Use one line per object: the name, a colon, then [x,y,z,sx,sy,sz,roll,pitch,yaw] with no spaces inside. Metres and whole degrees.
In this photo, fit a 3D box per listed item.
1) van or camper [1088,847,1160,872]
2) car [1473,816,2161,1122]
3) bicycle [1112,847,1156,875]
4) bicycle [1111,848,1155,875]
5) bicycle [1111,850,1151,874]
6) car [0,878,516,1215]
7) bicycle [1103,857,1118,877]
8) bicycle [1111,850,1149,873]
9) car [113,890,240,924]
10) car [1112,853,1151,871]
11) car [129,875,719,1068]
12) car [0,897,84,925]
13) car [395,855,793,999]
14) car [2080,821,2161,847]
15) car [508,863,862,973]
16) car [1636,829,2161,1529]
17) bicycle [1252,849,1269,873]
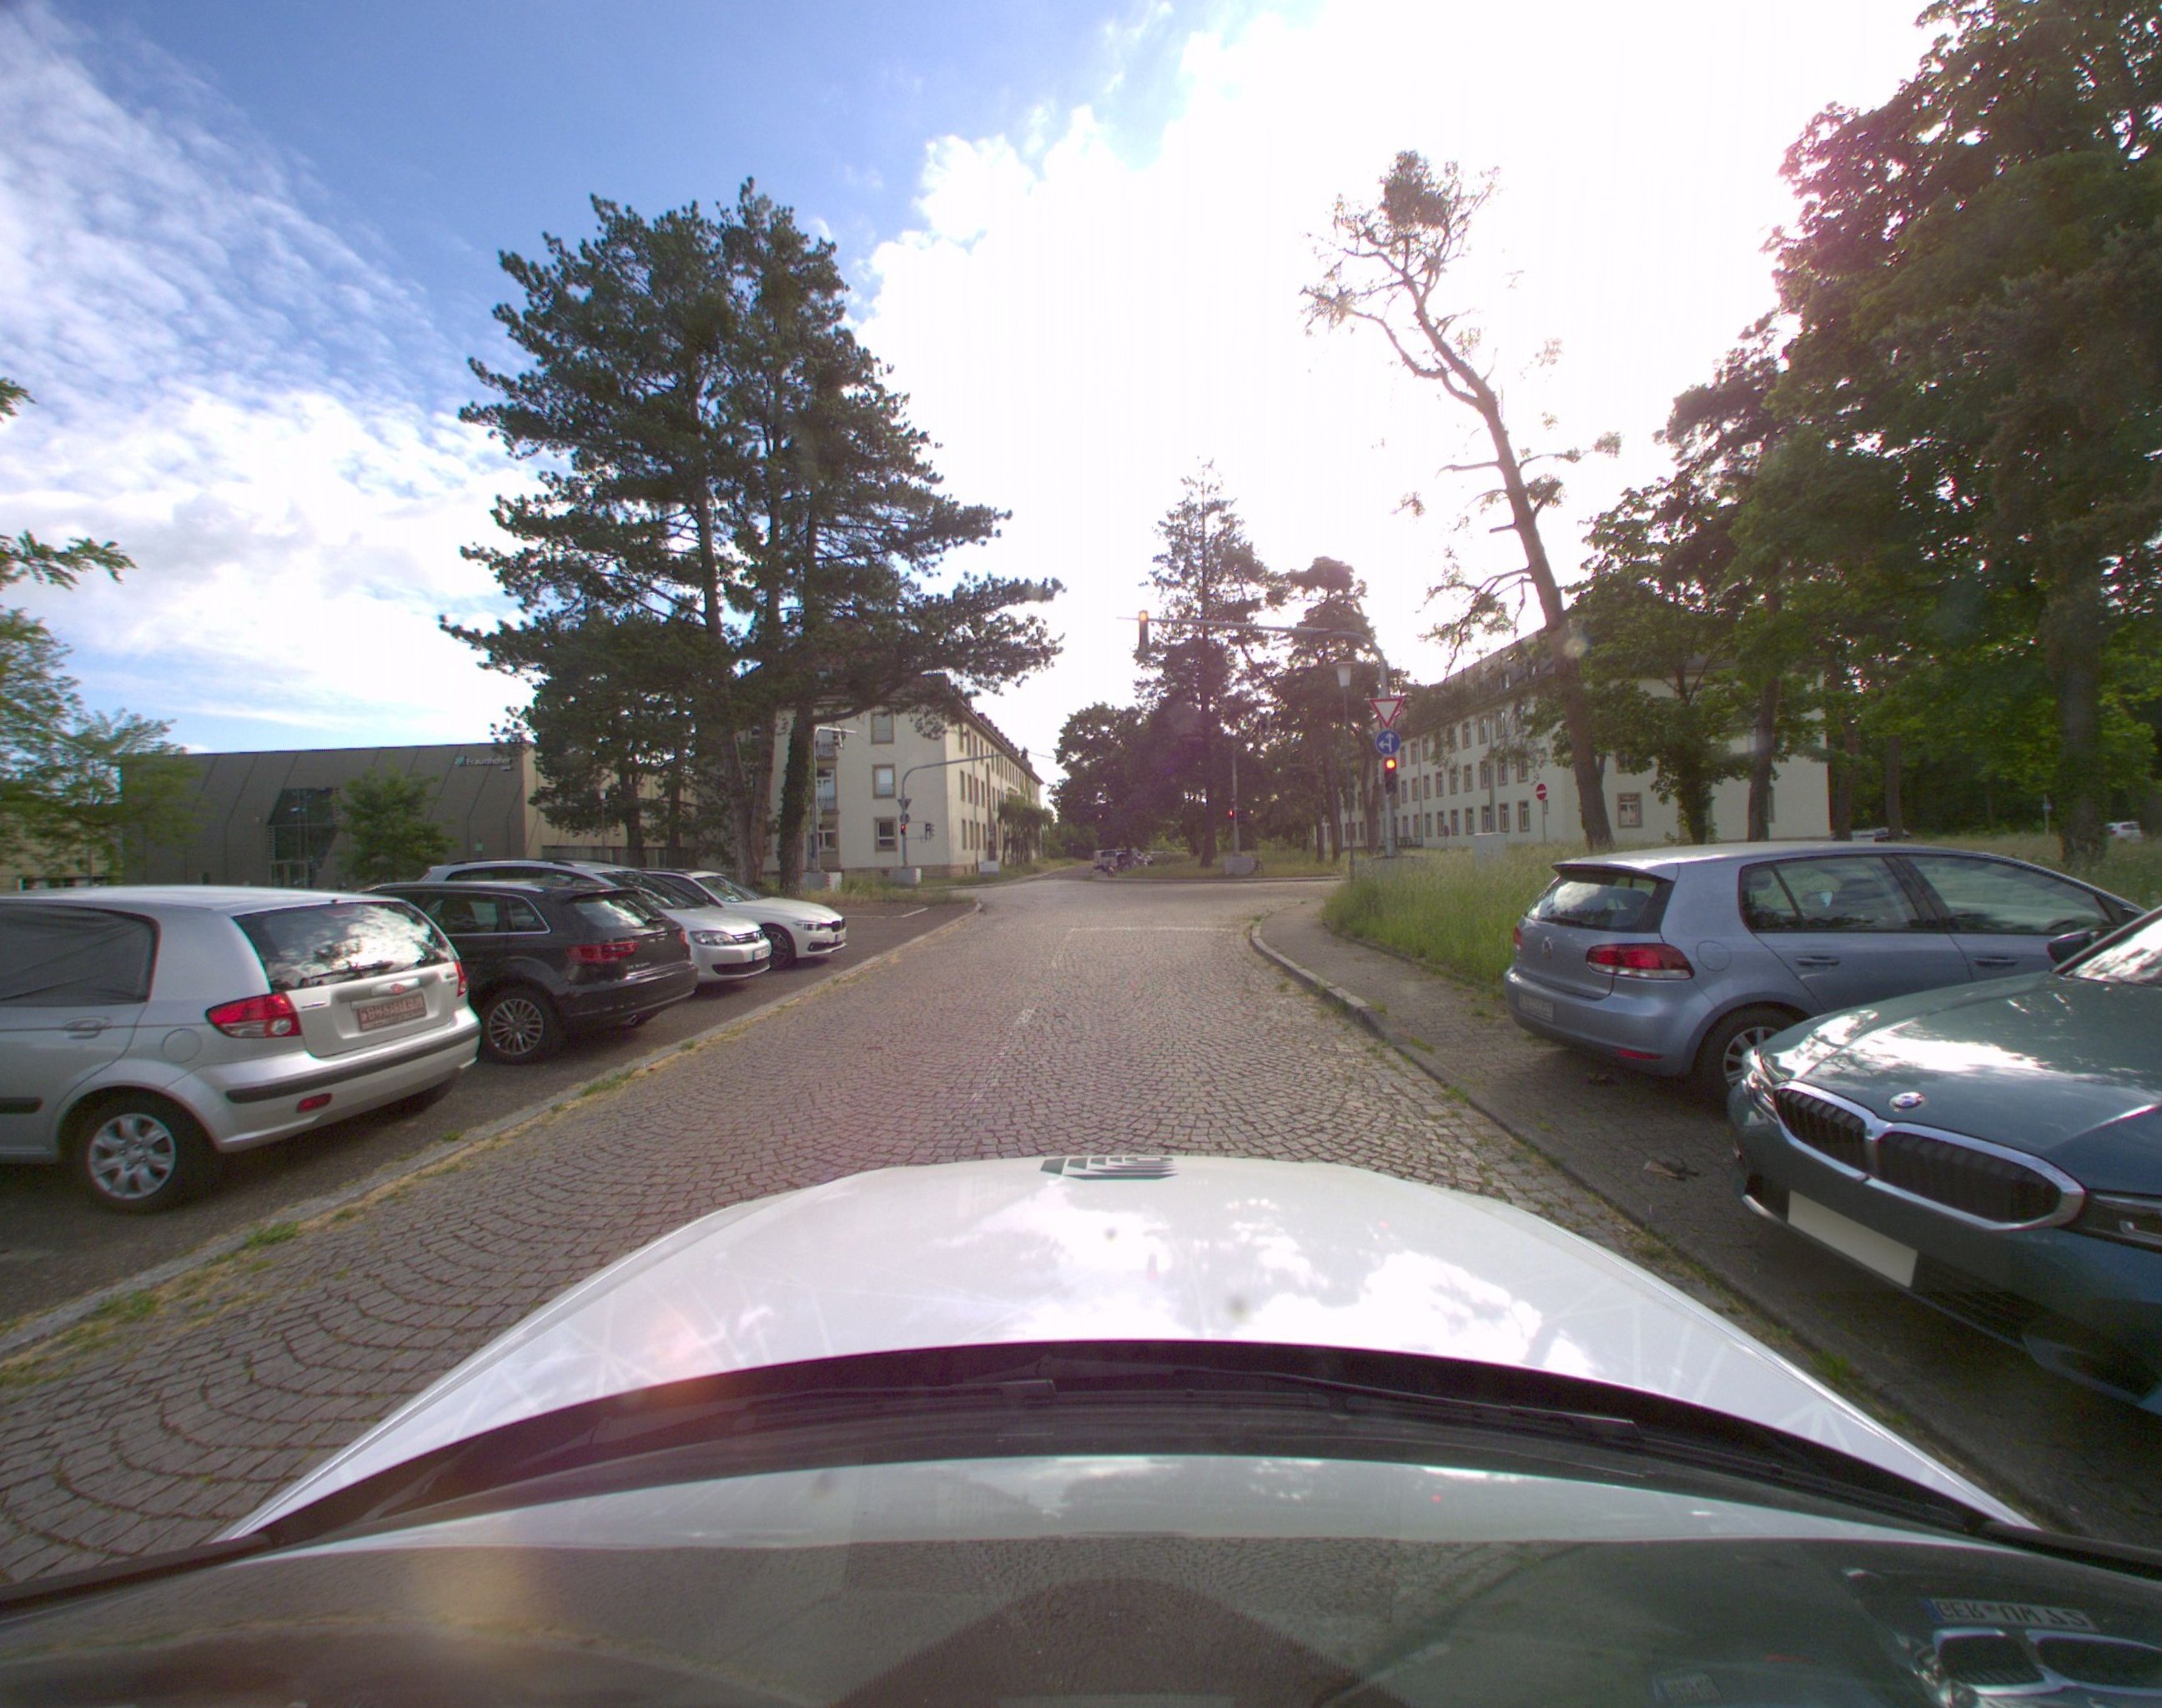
van or camper: [3.758,0.487,72.234,6.036,1.948,1.992,-2,0,-12]
car: [4.780,0.590,5.095,3.828,1.471,1.642,-3,0,1]
bicycle: [3.501,0.460,54.251,2.769,1.694,1.119,-2,0,-4]
bicycle: [3.529,0.488,55.446,2.771,1.694,1.118,-2,0,-5]
bicycle: [3.634,0.585,59.011,2.761,1.694,1.122,0,0,6]
car: [-5.545,0.908,4.552,3.565,1.475,1.647,1,0,-1]
bicycle: [1.834,0.807,50.020,0.722,1.107,2.464,-6,-1,4]
bicycle: [3.609,0.572,60.352,2.763,1.694,1.121,0,0,3]
car: [-46.744,2.727,42.219,1.749,1.414,4.138,-2,0,6]
car: [4.233,0.674,68.636,3.131,1.354,1.618,-2,0,-4]
car: [-5.506,0.931,7.190,3.821,1.408,1.696,1,0,1]
car: [-55.923,3.019,42.819,1.598,1.272,4.204,-2,0,6]
car: [-5.786,0.829,10.050,3.819,1.607,1.735,0,0,-1]
car: [59.193,-1.128,45.806,3.971,1.398,1.564,0,0,2]
car: [-5.874,0.927,12.522,4.465,1.442,1.829,2,0,-2]
car: [4.563,0.635,2.490,4.499,1.483,1.807,-2,0,-1]
bicycle: [9.303,0.351,42.247,0.720,1.169,2.743,0,0,9]
